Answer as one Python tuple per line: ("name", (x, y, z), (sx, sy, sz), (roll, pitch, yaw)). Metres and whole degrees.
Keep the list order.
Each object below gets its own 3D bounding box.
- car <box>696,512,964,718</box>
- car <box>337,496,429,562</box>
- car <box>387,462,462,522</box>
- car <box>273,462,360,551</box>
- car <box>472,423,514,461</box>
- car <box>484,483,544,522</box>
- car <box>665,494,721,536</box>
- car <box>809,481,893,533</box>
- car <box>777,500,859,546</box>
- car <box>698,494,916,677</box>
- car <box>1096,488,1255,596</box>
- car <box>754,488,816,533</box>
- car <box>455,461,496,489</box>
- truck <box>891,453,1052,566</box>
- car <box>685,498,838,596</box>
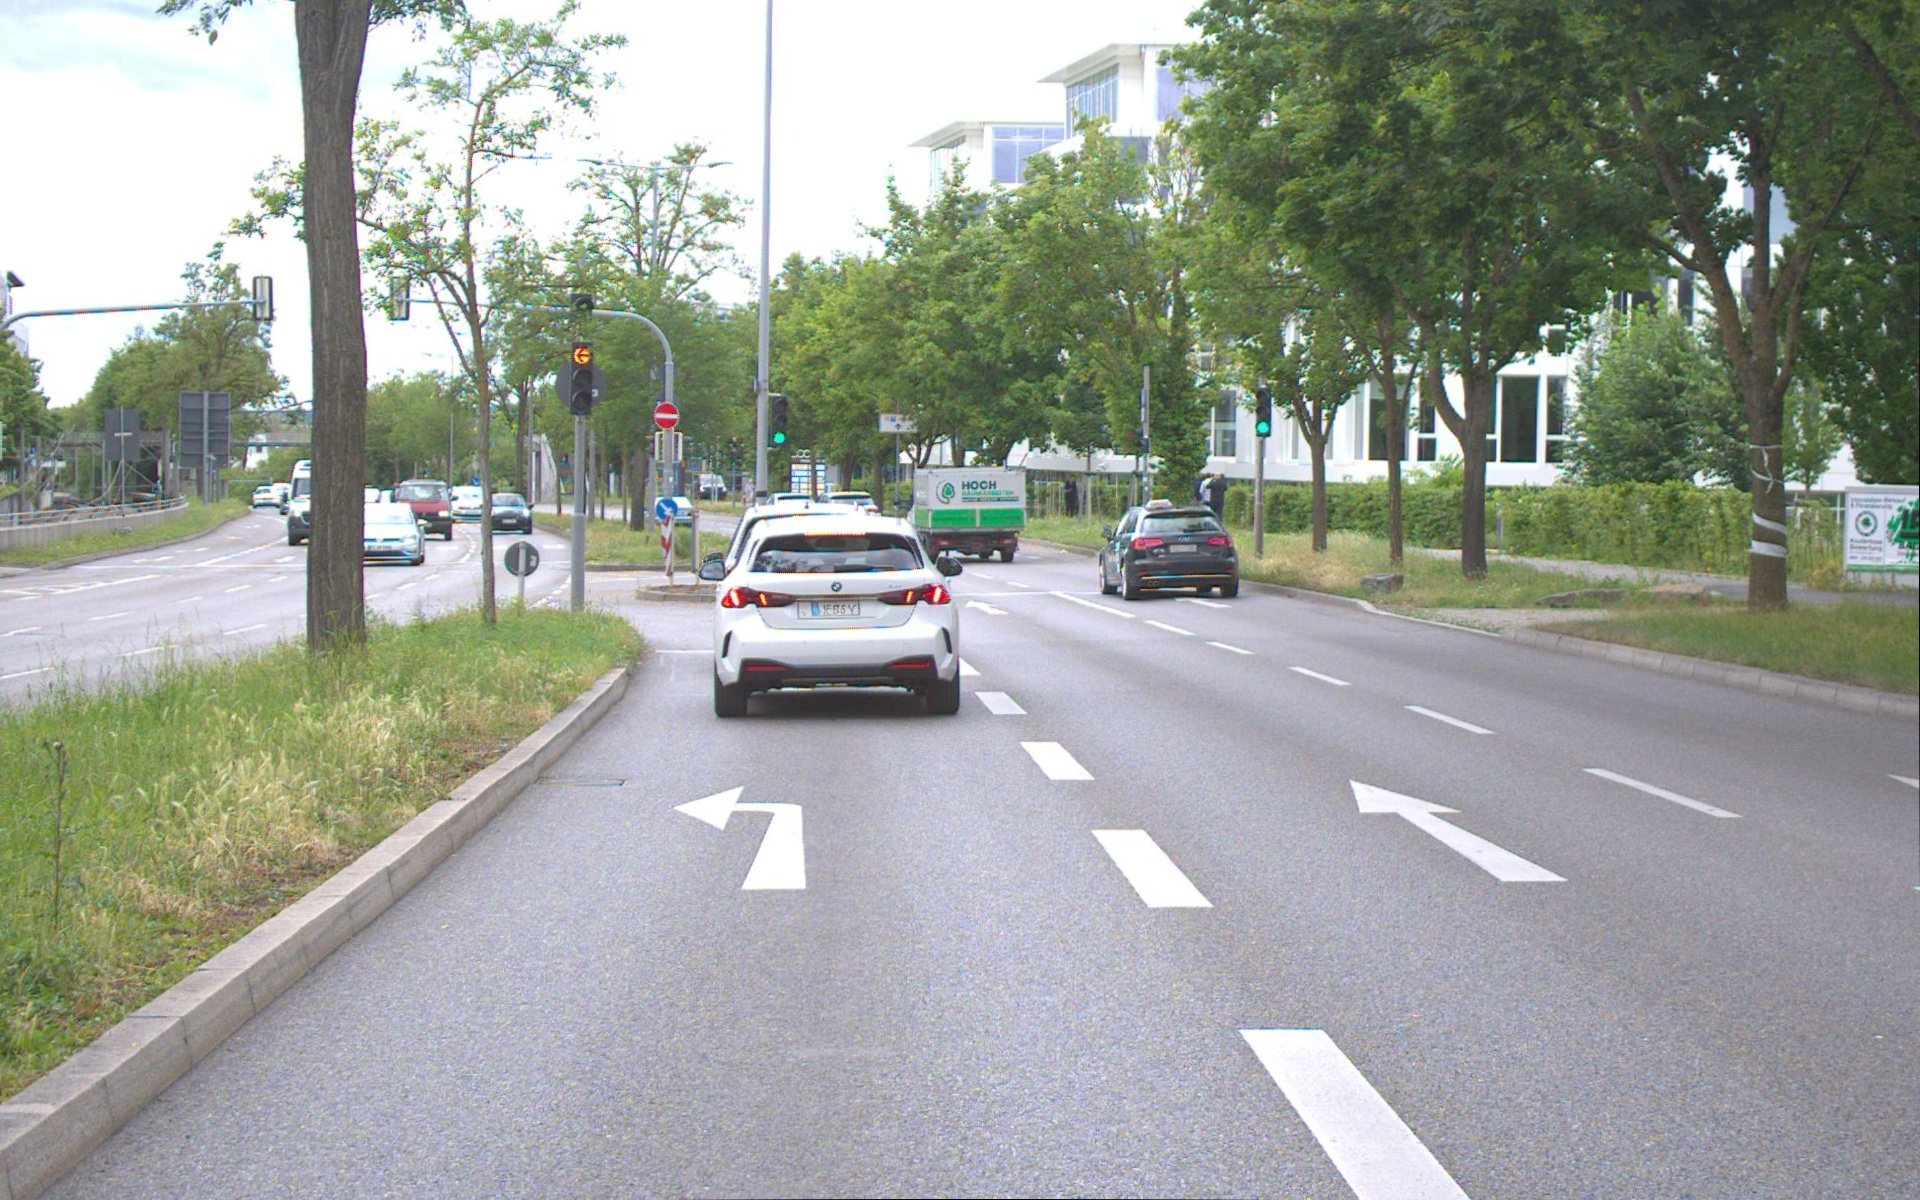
("car", (-0.917, 0.067, 26.322), (1.863, 1.444, 4.000), (0, 1, 0))
("car", (-13.478, -1.686, 80.496), (1.753, 1.439, 4.136), (2, 2, -5))
("car", (-17.507, -3.523, 112.594), (1.935, 1.911, 4.974), (0, 1, -3))
("car", (-19.931, -2.911, 106.752), (1.993, 2.625, 5.876), (2, 2, -5))
("car", (-25.973, -8.764, 191.265), (1.993, 2.004, 4.325), (2, 2, -5))
("car", (-15.895, -3.483, 122.620), (1.753, 1.366, 3.780), (-1, 2, -2))
("car", (-9.735, -3.111, 125.309), (1.993, 1.485, 4.001), (1, 2, -5))
("car", (-3.235, -2.740, 101.250), (1.993, 1.503, 4.001), (0, 2, -9))
("car", (-4.776, -2.604, 115.257), (1.993, 1.503, 4.001), (0, 2, -14))
("car", (-1.446, -0.173, 33.549), (1.993, 1.666, 4.000), (0, 1, -1))
("car", (3.291, -0.926, 53.215), (1.993, 1.590, 4.001), (0, 2, -3))
("car", (-6.029, -3.081, 118.069), (1.993, 1.485, 4.001), (1, 2, -5))
("car", (-29.419, -7.564, 208.919), (1.993, 1.612, 4.001), (2, 2, -2))
("truck", (0.210, -2.111, 80.687), (2.858, 2.510, 6.289), (0, 1, -8))
("car", (-3.154, -0.861, 55.413), (1.994, 1.503, 4.000), (1, 1, 4))
